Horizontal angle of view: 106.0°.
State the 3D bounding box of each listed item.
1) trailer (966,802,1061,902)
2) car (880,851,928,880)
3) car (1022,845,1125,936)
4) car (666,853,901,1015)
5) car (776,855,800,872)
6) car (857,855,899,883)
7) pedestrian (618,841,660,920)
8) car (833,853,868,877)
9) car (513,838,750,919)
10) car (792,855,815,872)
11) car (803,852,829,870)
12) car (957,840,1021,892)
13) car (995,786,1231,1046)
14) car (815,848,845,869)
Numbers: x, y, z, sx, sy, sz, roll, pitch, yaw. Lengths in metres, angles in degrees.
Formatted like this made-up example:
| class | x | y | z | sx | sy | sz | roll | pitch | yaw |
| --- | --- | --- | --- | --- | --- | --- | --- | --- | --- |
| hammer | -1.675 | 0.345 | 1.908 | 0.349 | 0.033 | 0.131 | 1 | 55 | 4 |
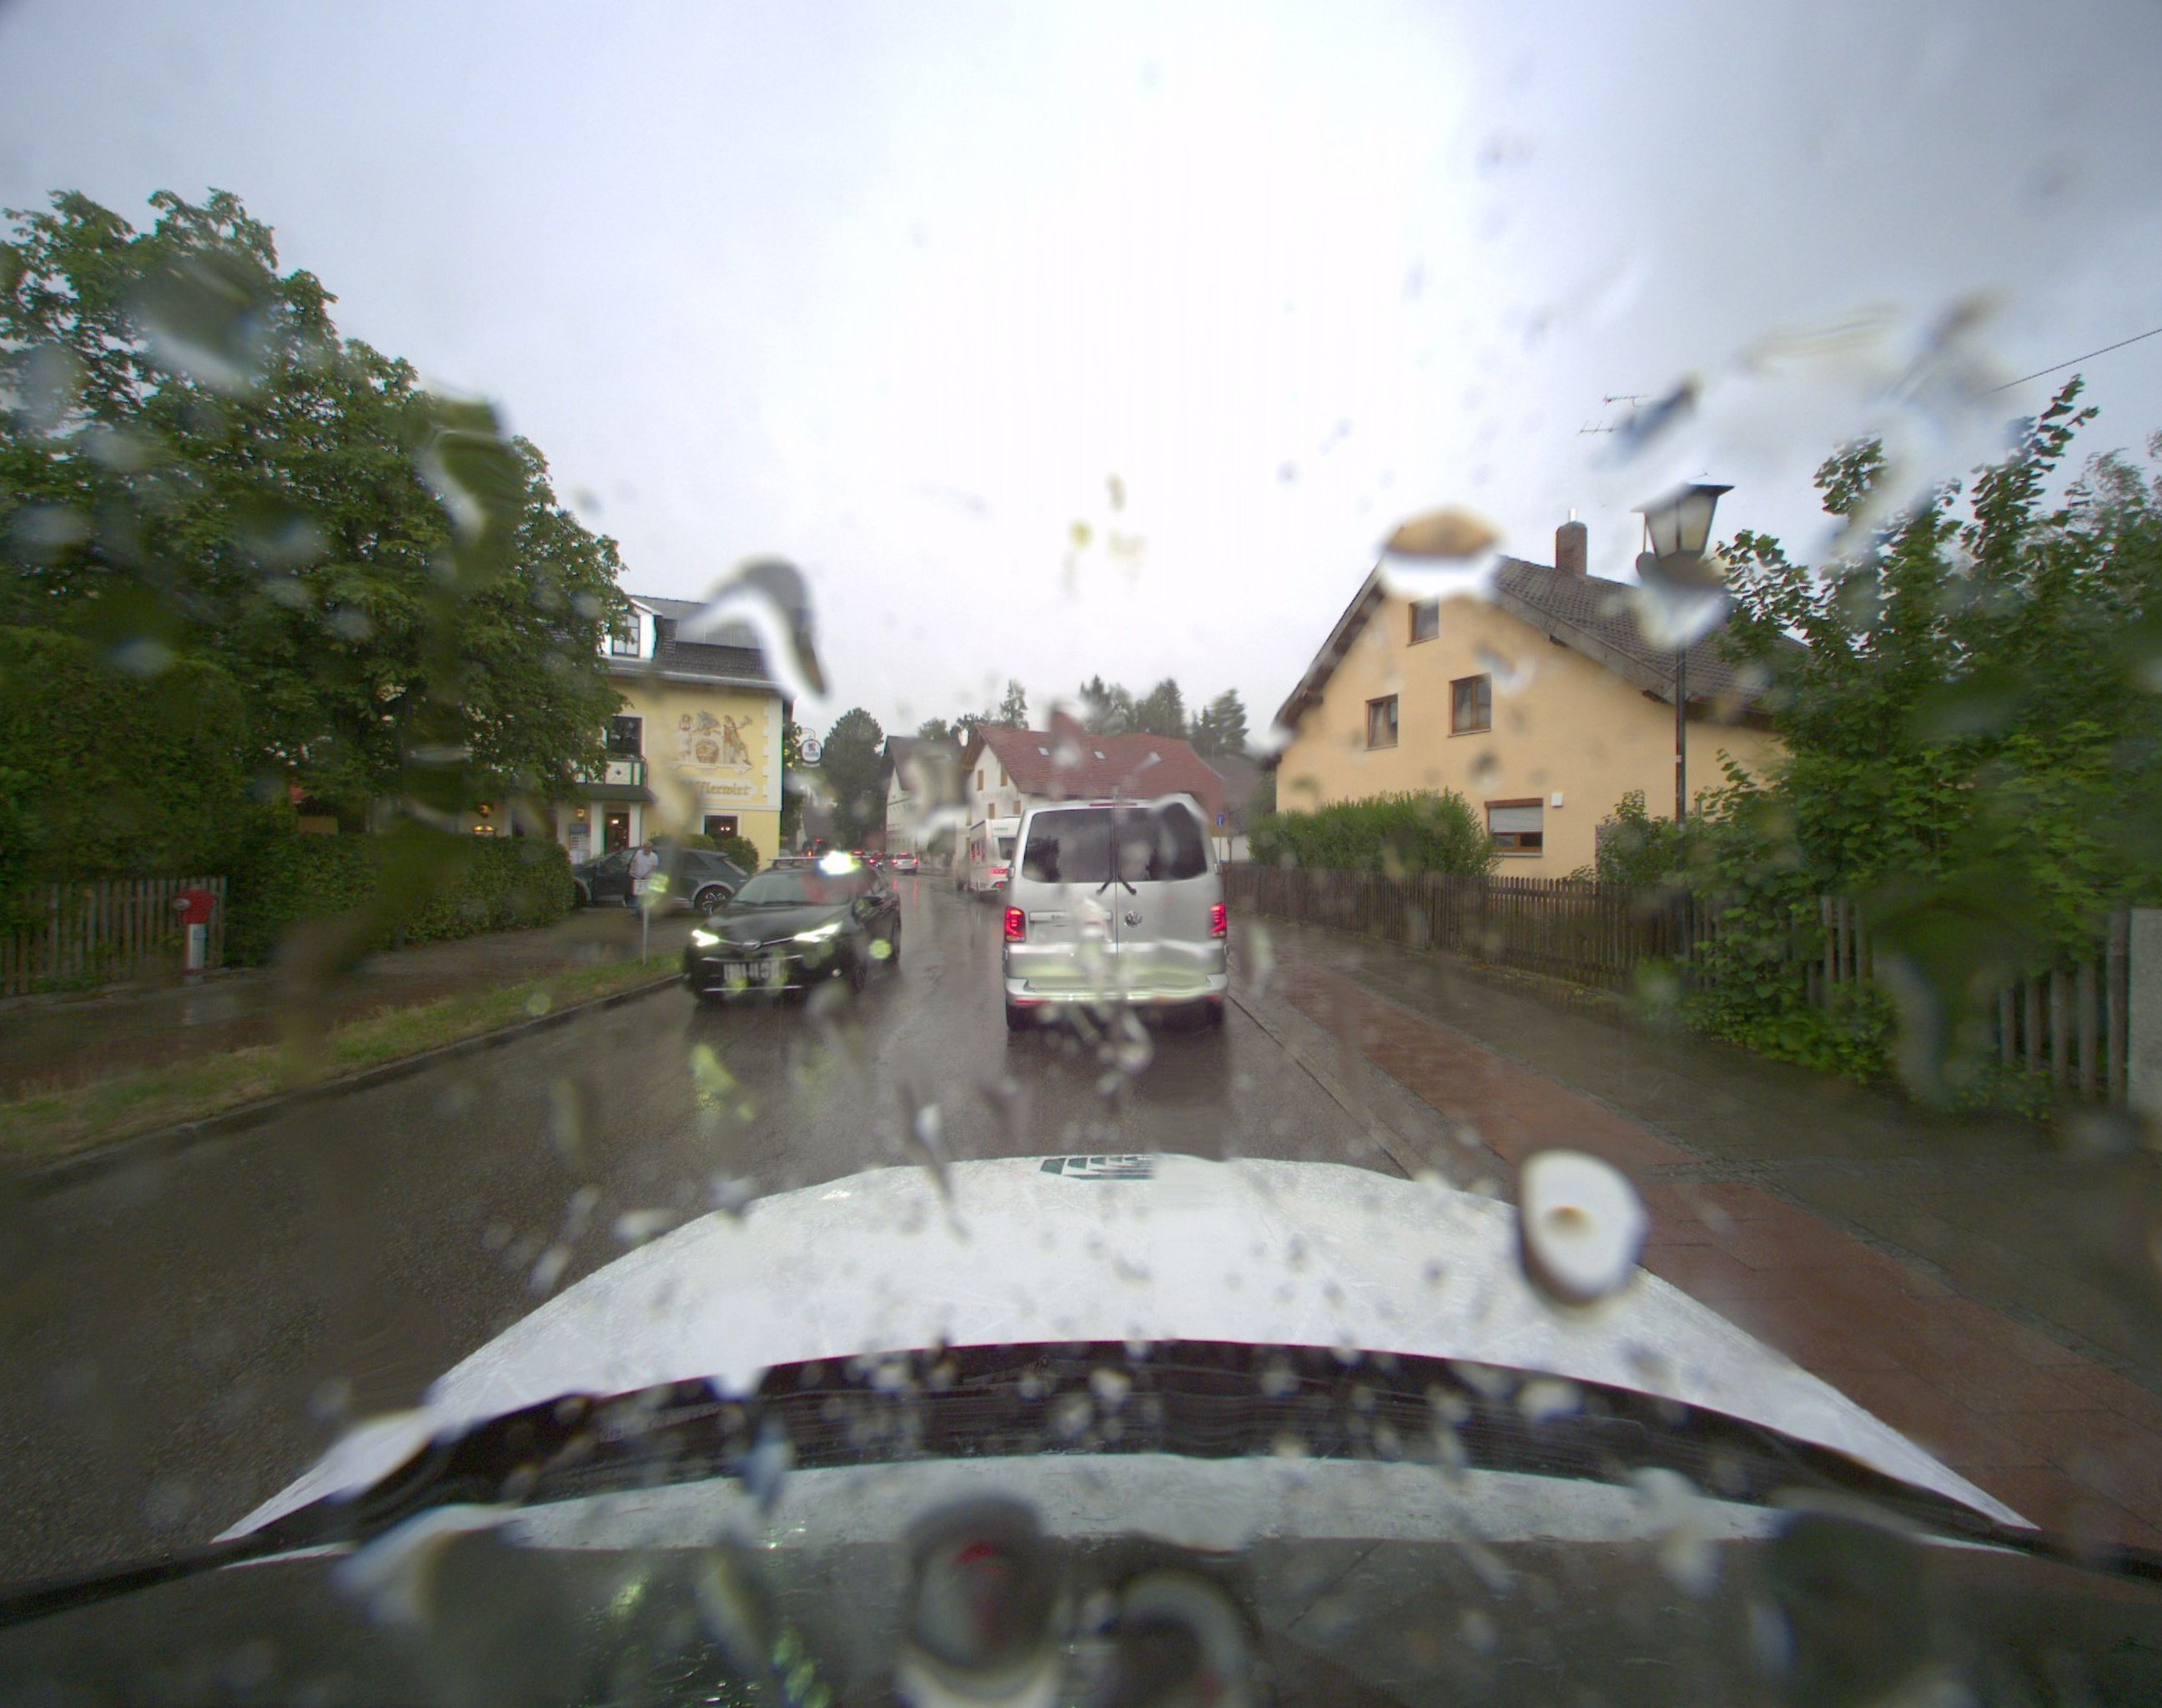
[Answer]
| class | x | y | z | sx | sy | sz | roll | pitch | yaw |
| --- | --- | --- | --- | --- | --- | --- | --- | --- | --- |
| trailer | -2.384 | -0.070 | 26.987 | 2.273 | 2.904 | 6.105 | -1 | 0 | -13 |
| car | -12.120 | 0.768 | 55.384 | 2.179 | 1.899 | 4.973 | 1 | -1 | -25 |
| car | -0.307 | 0.632 | 17.269 | 1.706 | 1.584 | 4.676 | -2 | 1 | -6 |
| car | -3.330 | 0.765 | 9.968 | 1.636 | 1.520 | 4.180 | -1 | 0 | -5 |
| car | -30.924 | 0.985 | 85.834 | 1.932 | 1.744 | 4.157 | -1 | 0 | -25 |
| car | -15.234 | 1.078 | 61.022 | 2.179 | 1.899 | 4.974 | 1 | 0 | -25 |
| pedestrian | -9.708 | 0.568 | 17.905 | 0.489 | 1.690 | 0.554 | 3 | -1 | 1 |
| car | -19.750 | 0.875 | 69.587 | 2.179 | 1.899 | 4.974 | 1 | 0 | -25 |
| car | -10.182 | 0.580 | 18.800 | 4.499 | 1.567 | 1.824 | 4 | 1 | -27 |
| car | -34.139 | 1.170 | 100.077 | 2.179 | 1.899 | 4.974 | 1 | 0 | -25 |
| car | -29.423 | 0.791 | 90.384 | 2.179 | 1.899 | 4.974 | 1 | 0 | -25 |
| car | -3.757 | 0.435 | 32.435 | 2.055 | 1.899 | 5.154 | -1 | 0 | -12 |
| car | 0.339 | 0.476 | 8.772 | 1.769 | 1.962 | 5.077 | -1 | 0 | 2 |
| car | -24.679 | 0.395 | 79.973 | 2.179 | 1.899 | 4.974 | 1 | 0 | -25 |
